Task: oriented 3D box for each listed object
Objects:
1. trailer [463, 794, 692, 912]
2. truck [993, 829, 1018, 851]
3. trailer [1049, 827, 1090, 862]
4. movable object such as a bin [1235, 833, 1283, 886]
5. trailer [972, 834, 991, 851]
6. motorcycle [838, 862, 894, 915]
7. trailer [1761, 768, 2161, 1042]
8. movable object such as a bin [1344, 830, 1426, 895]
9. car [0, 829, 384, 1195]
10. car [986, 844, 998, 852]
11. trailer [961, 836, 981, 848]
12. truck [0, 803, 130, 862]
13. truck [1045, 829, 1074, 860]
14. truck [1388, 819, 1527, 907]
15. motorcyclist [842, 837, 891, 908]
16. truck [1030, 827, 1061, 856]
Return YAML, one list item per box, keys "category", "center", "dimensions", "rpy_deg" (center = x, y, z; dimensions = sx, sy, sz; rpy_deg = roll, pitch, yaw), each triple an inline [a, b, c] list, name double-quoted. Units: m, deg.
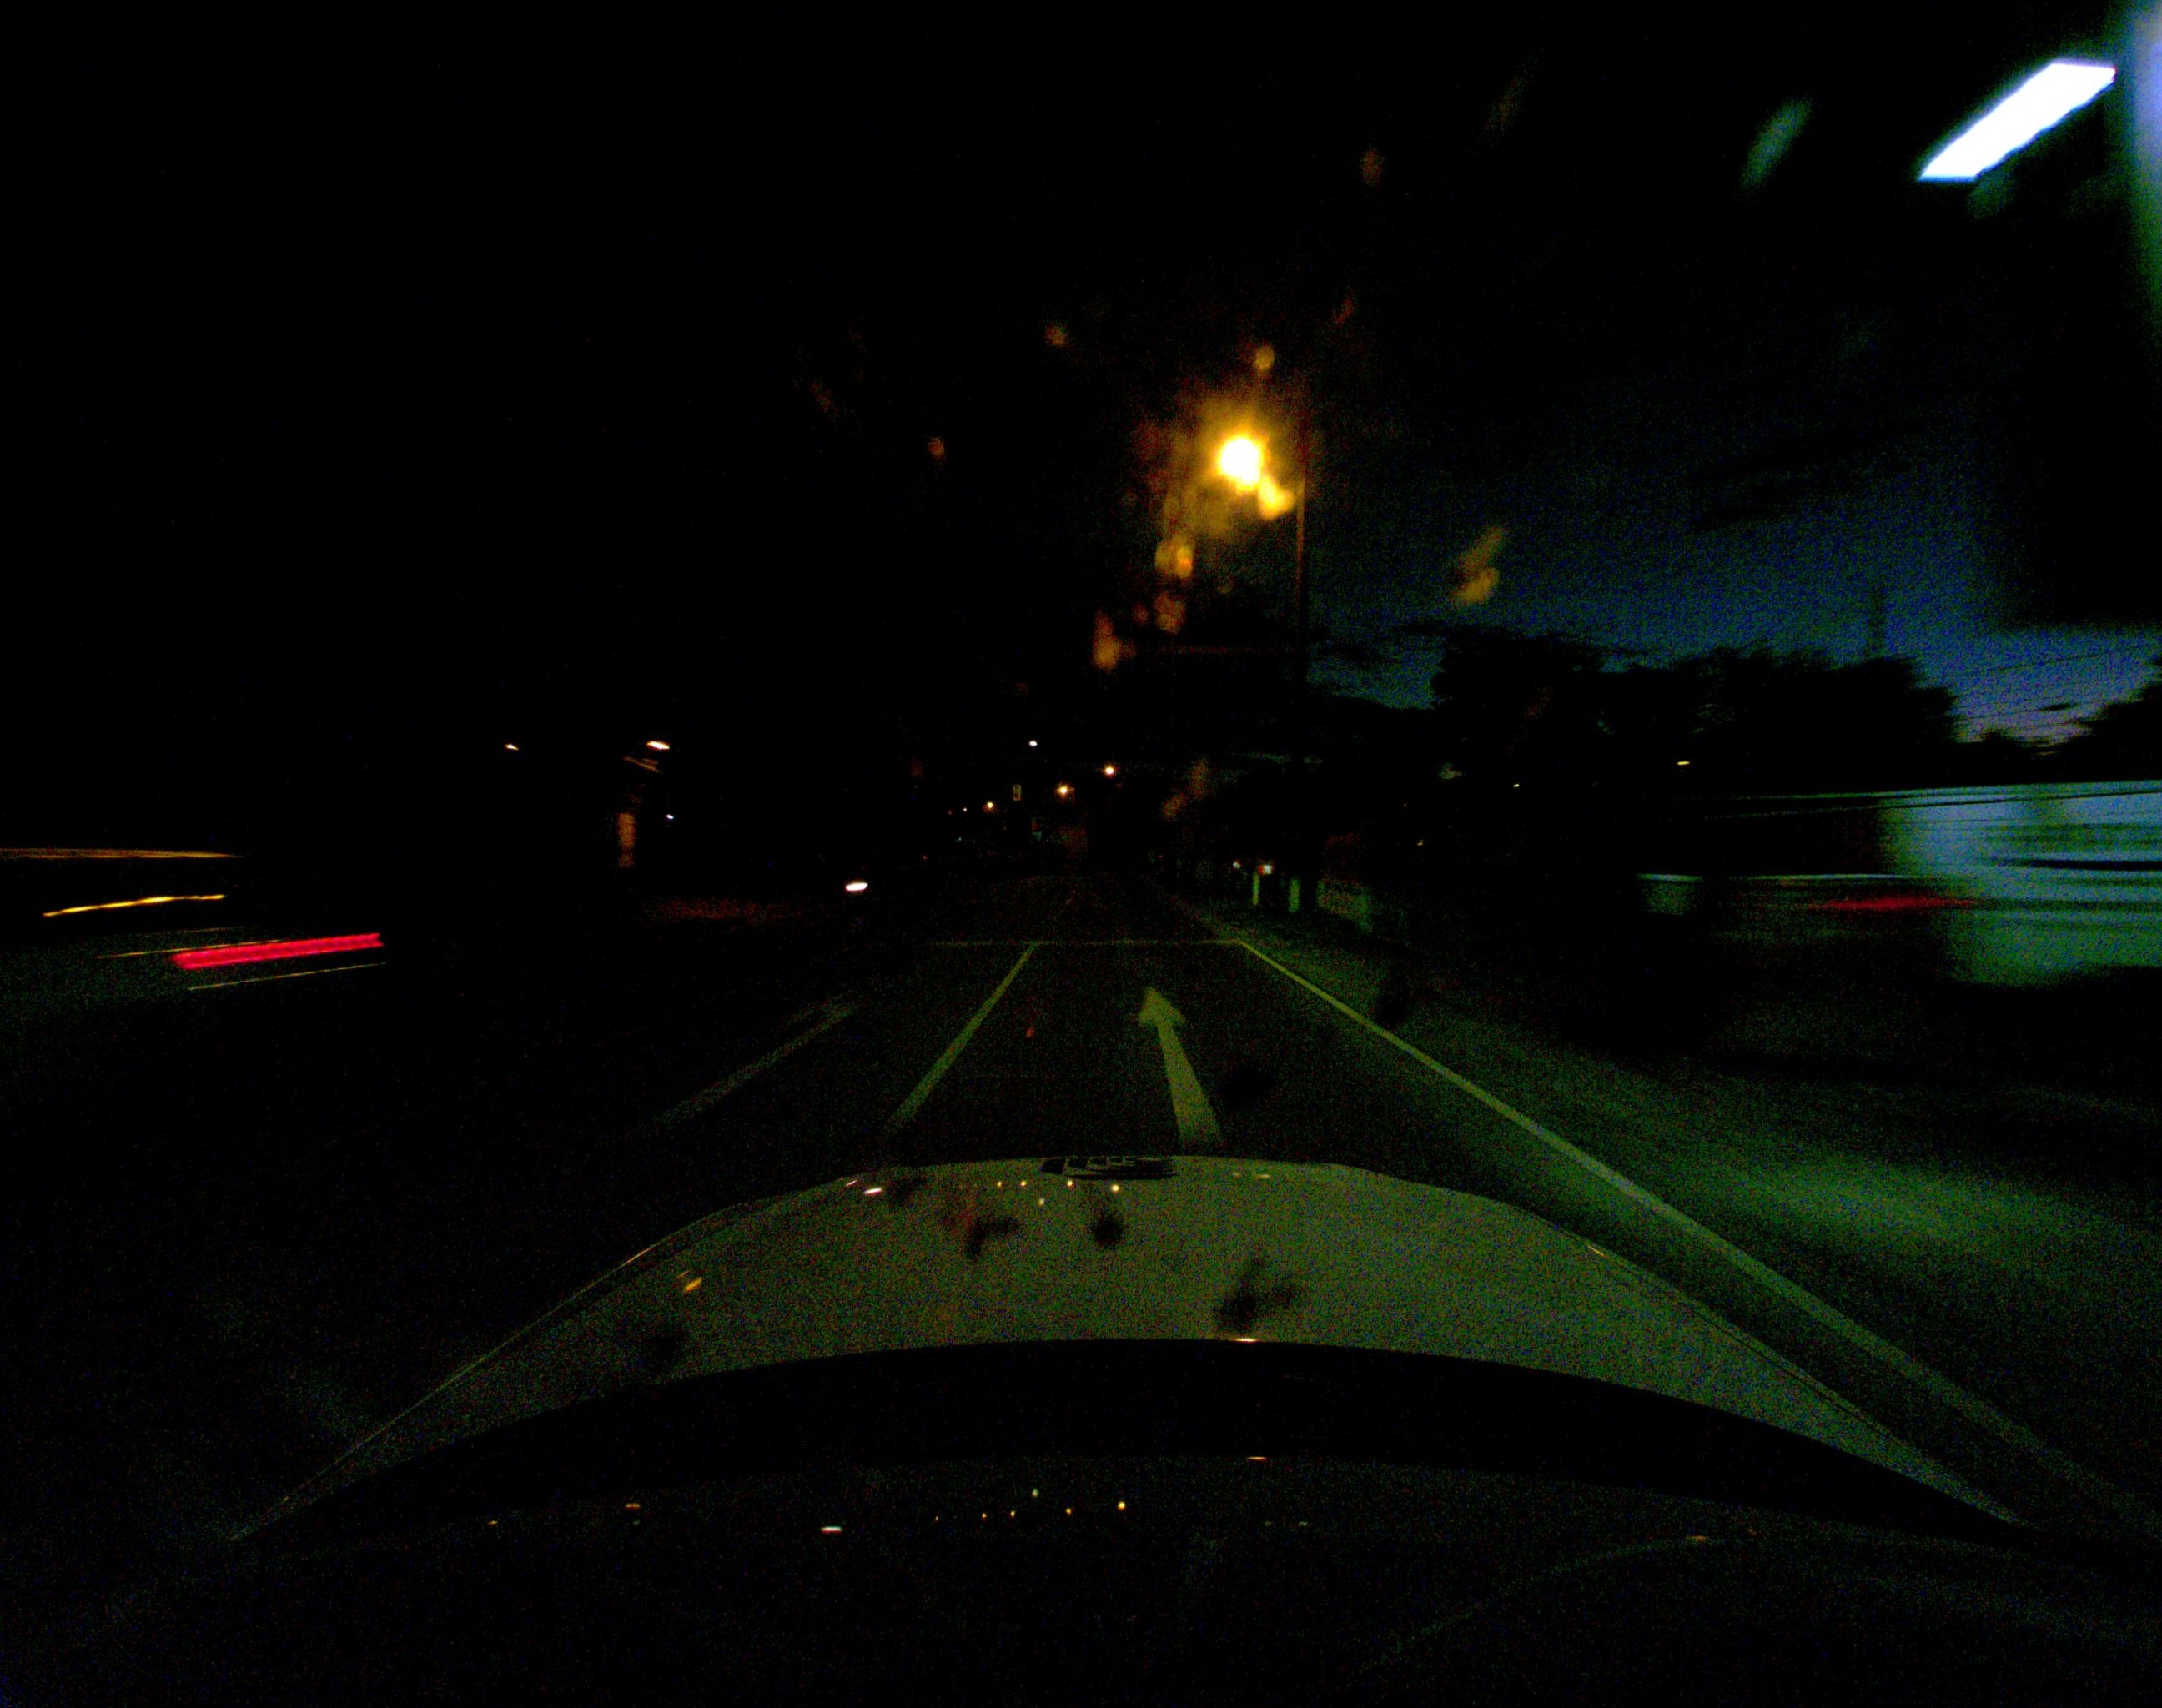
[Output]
- category: "trailer"
  center: [-12.291, -0.045, 20.124]
  dimensions: [4.334, 2.720, 2.000]
  rpy_deg: [-1, 1, 0]
- category: "truck"
  center: [-14.170, -2.606, 151.705]
  dimensions: [3.523, 3.983, 10.301]
  rpy_deg: [-1, 1, -12]
- category: "trailer"
  center: [-1.648, -1.229, 102.294]
  dimensions: [2.810, 3.983, 13.923]
  rpy_deg: [-1, 1, -11]
- category: "movable object such as a bin"
  center: [8.328, 0.253, 38.237]
  dimensions: [1.680, 2.383, 1.611]
  rpy_deg: [1, 0, -11]
- category: "trailer"
  center: [-21.822, -2.545, 178.815]
  dimensions: [2.694, 3.464, 7.762]
  rpy_deg: [1, 0, -18]
- category: "motorcycle"
  center: [-5.878, 0.910, 22.478]
  dimensions: [0.996, 1.305, 2.821]
  rpy_deg: [1, 0, -5]
- category: "trailer"
  center: [8.234, 0.360, 6.734]
  dimensions: [3.713, 2.013, 1.624]
  rpy_deg: [0, 1, 25]
- category: "movable object such as a bin"
  center: [13.763, 0.355, 37.112]
  dimensions: [2.221, 2.724, 3.864]
  rpy_deg: [1, 0, -1]
- category: "car"
  center: [-5.794, 0.693, 3.190]
  dimensions: [1.987, 1.627, 4.752]
  rpy_deg: [1, 0, 0]
- category: "car"
  center: [-18.159, -1.284, 166.539]
  dimensions: [1.856, 1.519, 3.799]
  rpy_deg: [-1, 1, -15]
- category: "trailer"
  center: [-26.302, -2.807, 194.421]
  dimensions: [3.190, 2.748, 10.659]
  rpy_deg: [-1, 1, -15]
- category: "truck"
  center: [-45.524, -0.939, 35.369]
  dimensions: [5.037, 2.389, 2.151]
  rpy_deg: [2, 0, -16]
- category: "truck"
  center: [-2.903, -1.339, 108.812]
  dimensions: [2.831, 3.983, 6.028]
  rpy_deg: [-1, 1, -11]
- category: "truck"
  center: [13.447, 0.283, 29.748]
  dimensions: [2.173, 2.748, 7.325]
  rpy_deg: [1, 0, 5]
- category: "motorcyclist"
  center: [-5.867, 0.511, 22.348]
  dimensions: [1.132, 1.900, 0.832]
  rpy_deg: [1, 0, -6]
- category: "truck"
  center: [-5.309, -1.780, 119.211]
  dimensions: [2.833, 3.983, 10.298]
  rpy_deg: [-1, 1, -13]
